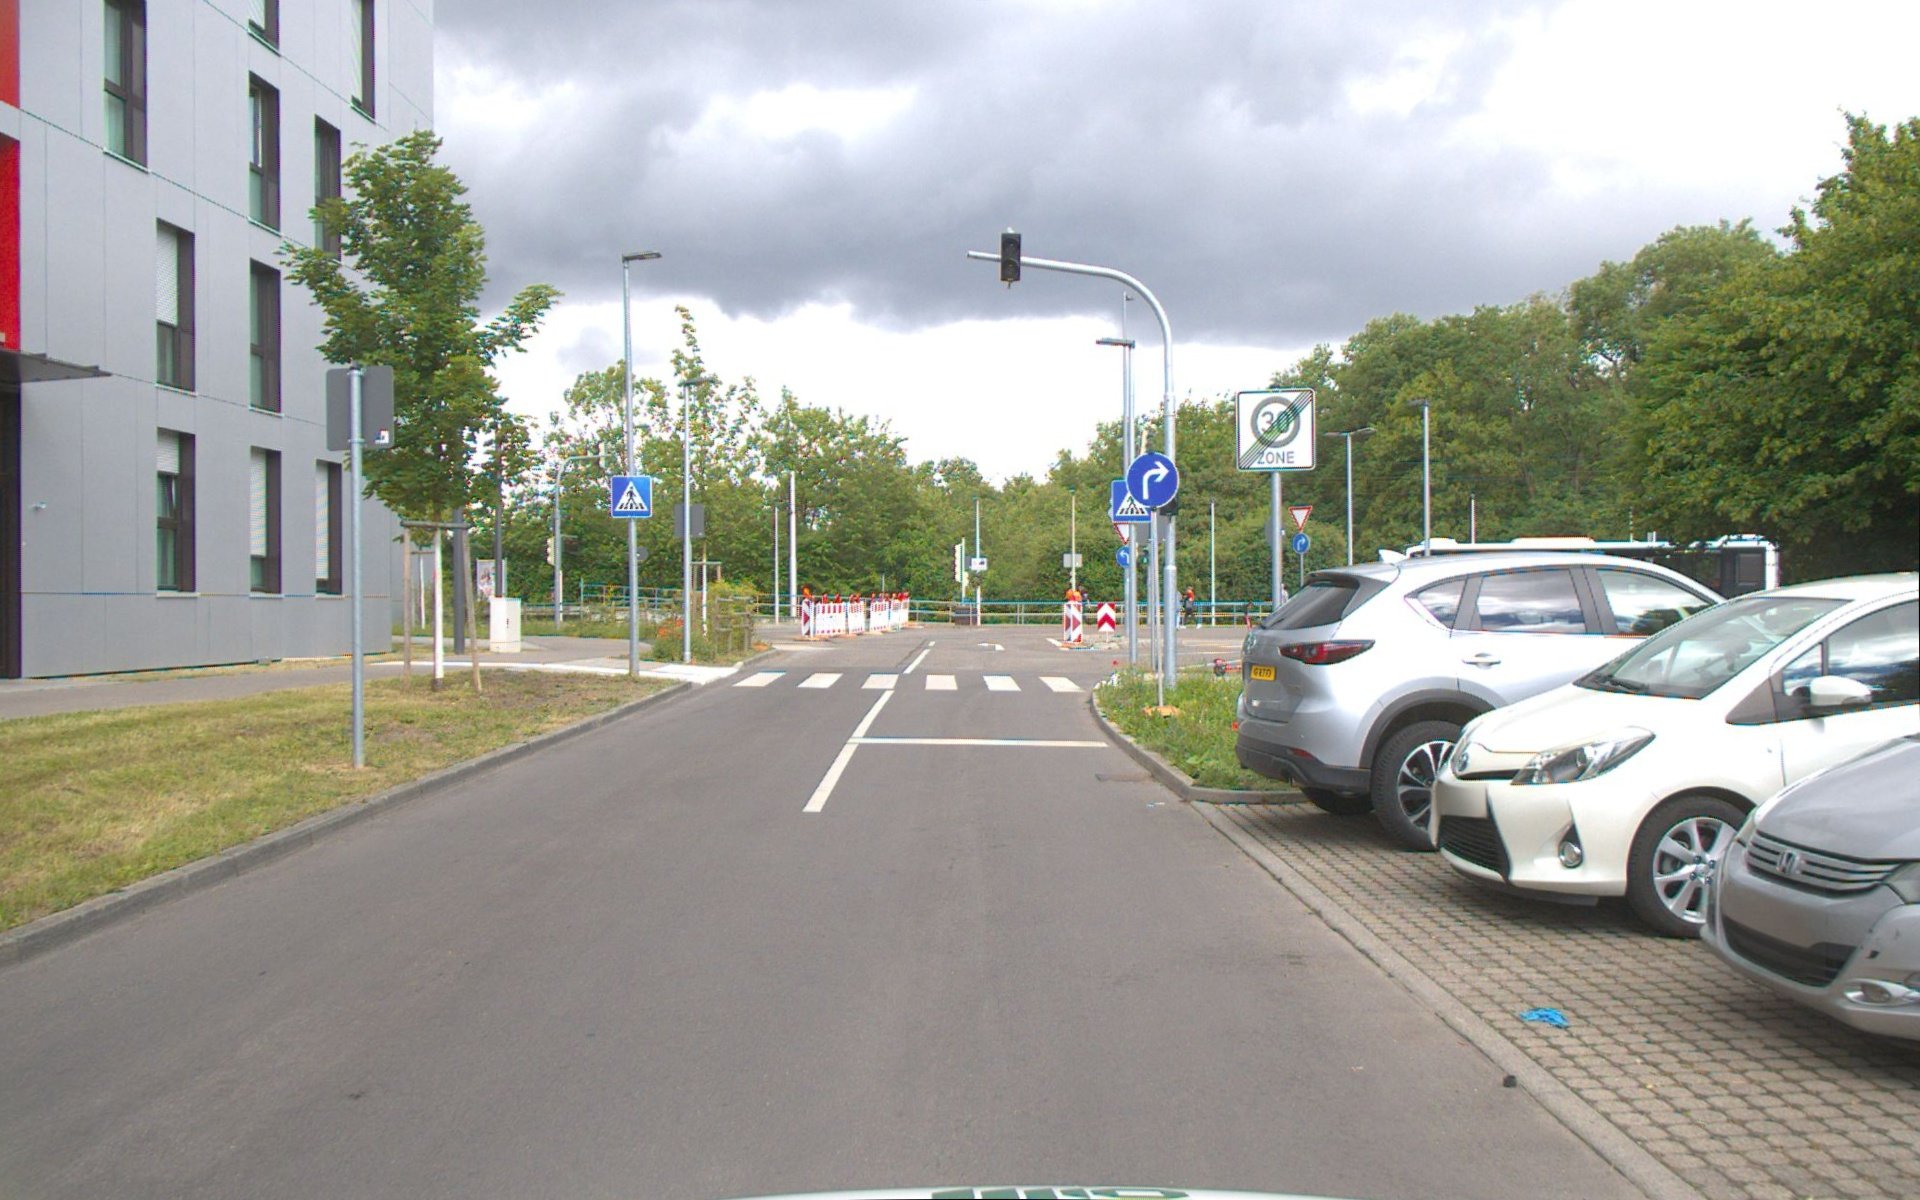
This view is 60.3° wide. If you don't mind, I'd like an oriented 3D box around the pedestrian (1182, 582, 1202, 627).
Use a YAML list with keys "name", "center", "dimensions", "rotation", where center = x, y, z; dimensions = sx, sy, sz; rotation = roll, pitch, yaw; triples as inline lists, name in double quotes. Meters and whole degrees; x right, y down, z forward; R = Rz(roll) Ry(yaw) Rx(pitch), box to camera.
- name: "pedestrian"
  center: [8.699, 0.170, 62.026]
  dimensions: [0.705, 1.649, 0.806]
  rotation: [0, 0, 11]

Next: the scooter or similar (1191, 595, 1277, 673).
- name: "scooter or similar"
  center: [4.765, 0.575, 28.744]
  dimensions: [1.506, 1.336, 0.566]
  rotation: [0, 0, -33]

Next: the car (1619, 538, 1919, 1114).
- name: "car"
  center: [4.776, 0.543, 5.493]
  dimensions: [4.388, 1.589, 1.910]
  rotation: [-2, 0, -3]

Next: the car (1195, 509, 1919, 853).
- name: "car"
  center: [3.992, 0.419, 10.484]
  dimensions: [4.558, 1.782, 2.068]
  rotation: [-2, 0, -5]

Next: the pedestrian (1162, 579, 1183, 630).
- name: "pedestrian"
  center: [7.518, 0.148, 58.486]
  dimensions: [0.705, 1.778, 0.958]
  rotation: [0, 0, 11]

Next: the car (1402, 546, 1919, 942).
- name: "car"
  center: [4.396, 0.569, 7.858]
  dimensions: [4.072, 1.614, 1.795]
  rotation: [-1, 0, -3]

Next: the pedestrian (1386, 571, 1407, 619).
- name: "pedestrian"
  center: [16.079, -0.186, 60.938]
  dimensions: [0.705, 1.778, 0.958]
  rotation: [0, 0, 17]

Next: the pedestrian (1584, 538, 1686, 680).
- name: "pedestrian"
  center: [9.077, 0.122, 22.244]
  dimensions: [0.969, 1.854, 0.850]
  rotation: [0, 0, -26]

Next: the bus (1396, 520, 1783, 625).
- name: "bus"
  center: [20.942, -0.865, 55.832]
  dimensions: [11.899, 3.259, 2.677]
  rotation: [-1, 0, 12]
